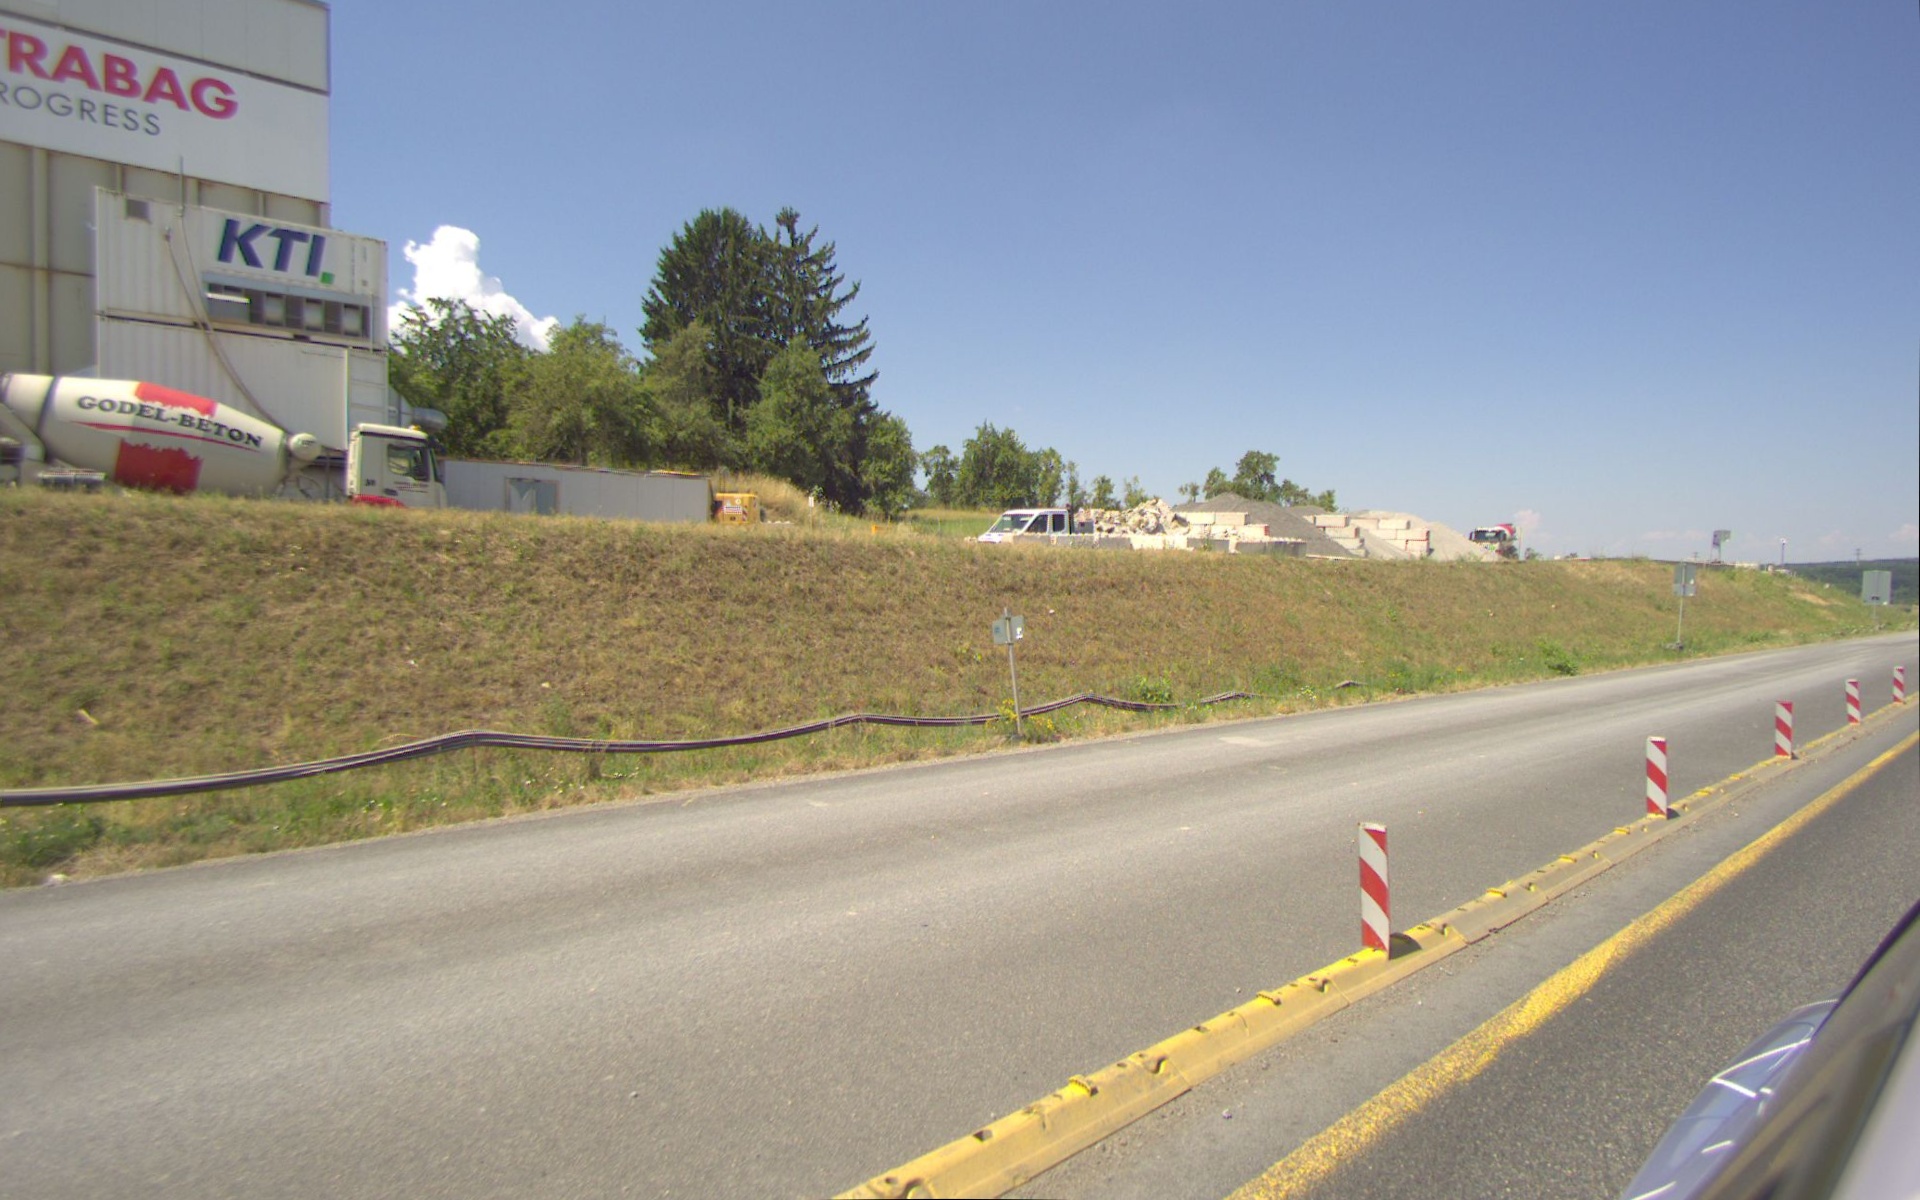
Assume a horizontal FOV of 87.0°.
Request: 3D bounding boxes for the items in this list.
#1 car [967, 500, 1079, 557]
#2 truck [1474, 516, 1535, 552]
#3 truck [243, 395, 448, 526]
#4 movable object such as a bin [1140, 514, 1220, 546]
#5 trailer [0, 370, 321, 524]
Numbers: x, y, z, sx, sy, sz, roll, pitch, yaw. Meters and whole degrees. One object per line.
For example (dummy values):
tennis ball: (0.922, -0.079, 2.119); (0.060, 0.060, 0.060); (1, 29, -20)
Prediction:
car: (2.228, -2.448, 35.394); (3.539, 1.785, 1.989); (-1, 0, -41)
truck: (49.266, -5.925, 91.430); (8.915, 2.855, 2.218); (-1, 0, -44)
truck: (-14.526, -3.179, 23.995); (3.967, 2.577, 2.022); (-1, 0, -38)
movable object such as a bin: (5.579, -1.756, 25.583); (2.210, 0.690, 0.837); (-1, 0, -41)
trailer: (-17.711, -3.146, 21.529); (6.809, 2.677, 1.999); (-1, 0, -38)
